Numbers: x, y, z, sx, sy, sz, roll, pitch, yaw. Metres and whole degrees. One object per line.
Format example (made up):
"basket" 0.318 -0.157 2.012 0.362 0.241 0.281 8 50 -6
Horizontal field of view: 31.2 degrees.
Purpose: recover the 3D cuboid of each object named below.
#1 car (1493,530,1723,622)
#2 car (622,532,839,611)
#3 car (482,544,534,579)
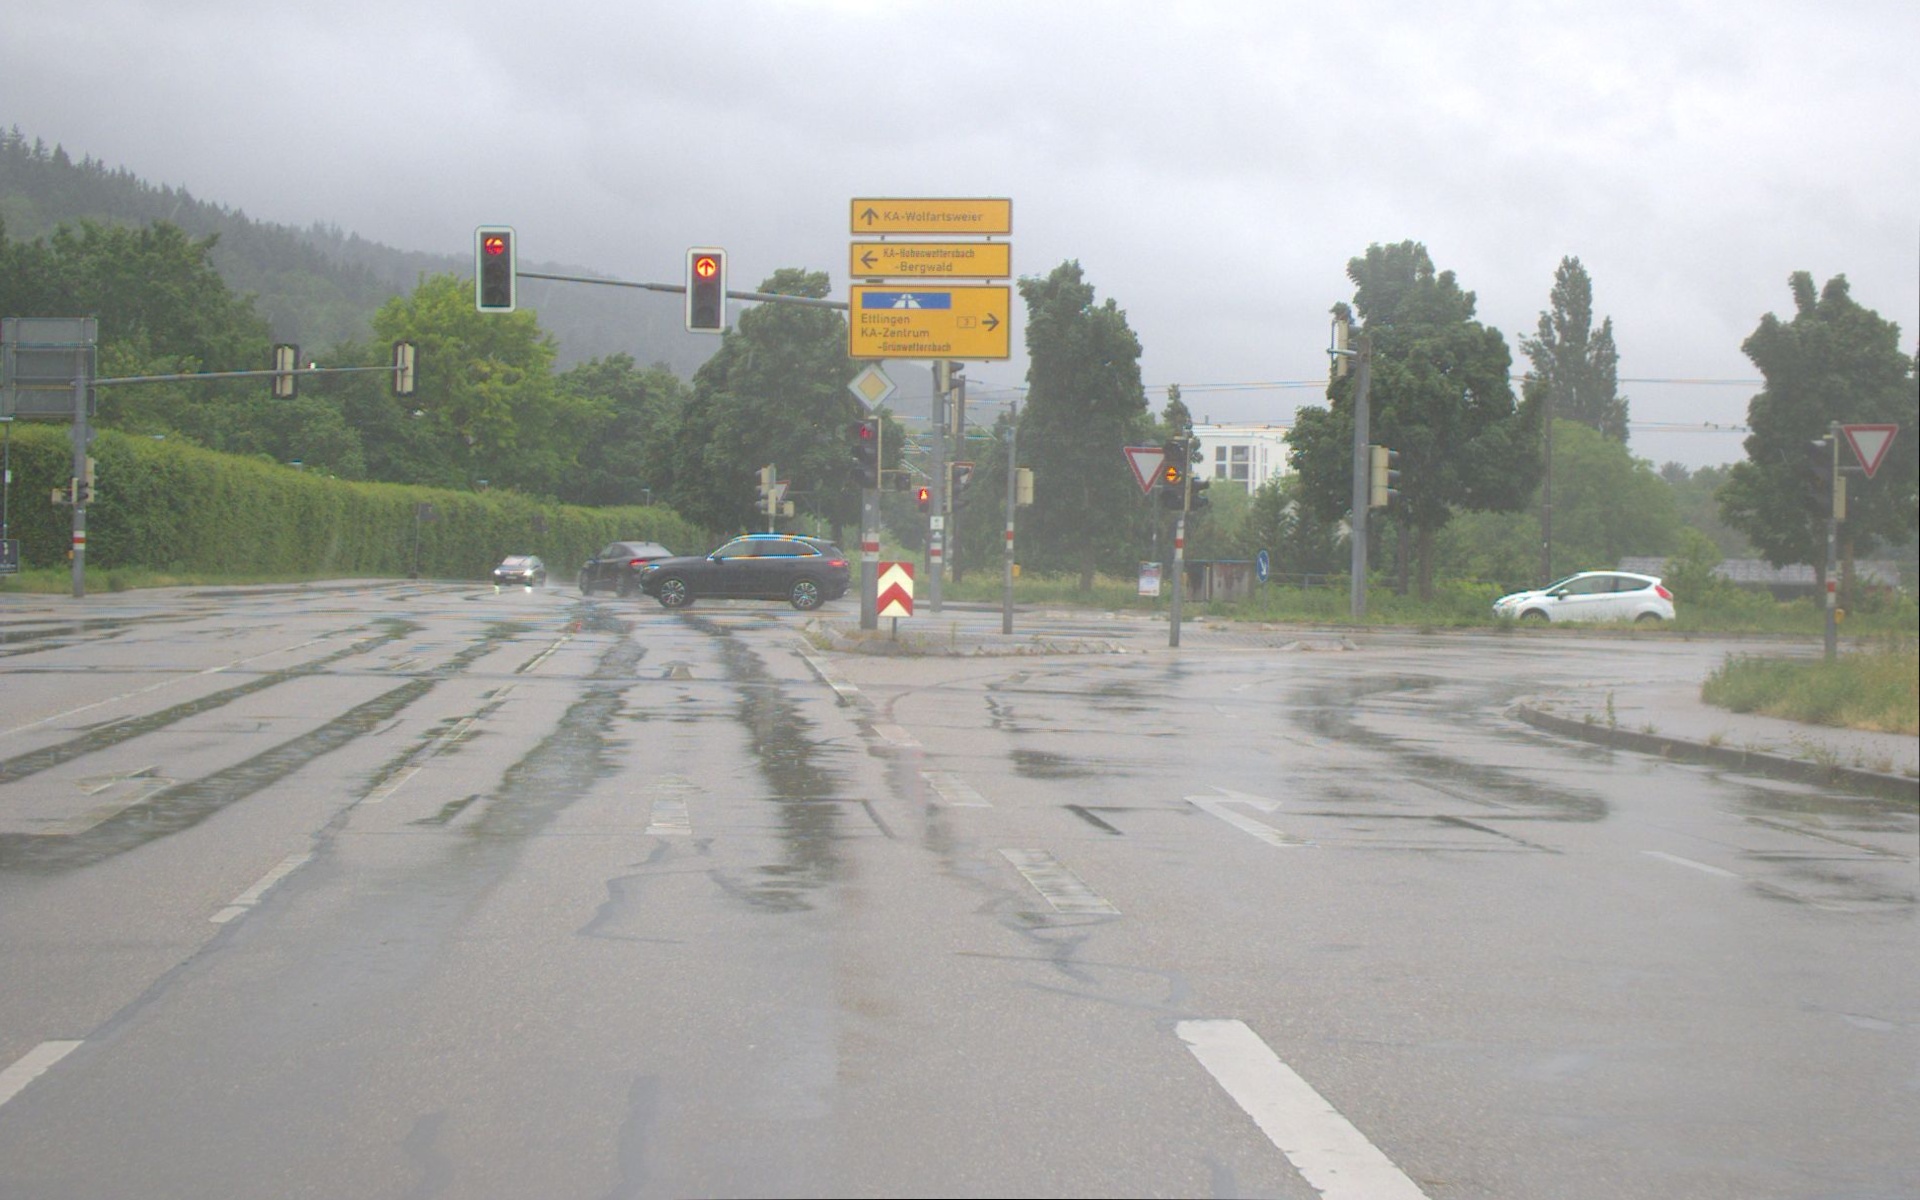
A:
"car" 14.155 -0.538 75.291 4.669 1.909 1.915 1 1 1
"car" -5.010 -0.636 75.486 4.669 1.633 1.823 -1 1 -1
"car" -21.194 -1.810 161.225 1.879 1.568 4.645 -1 1 -1
